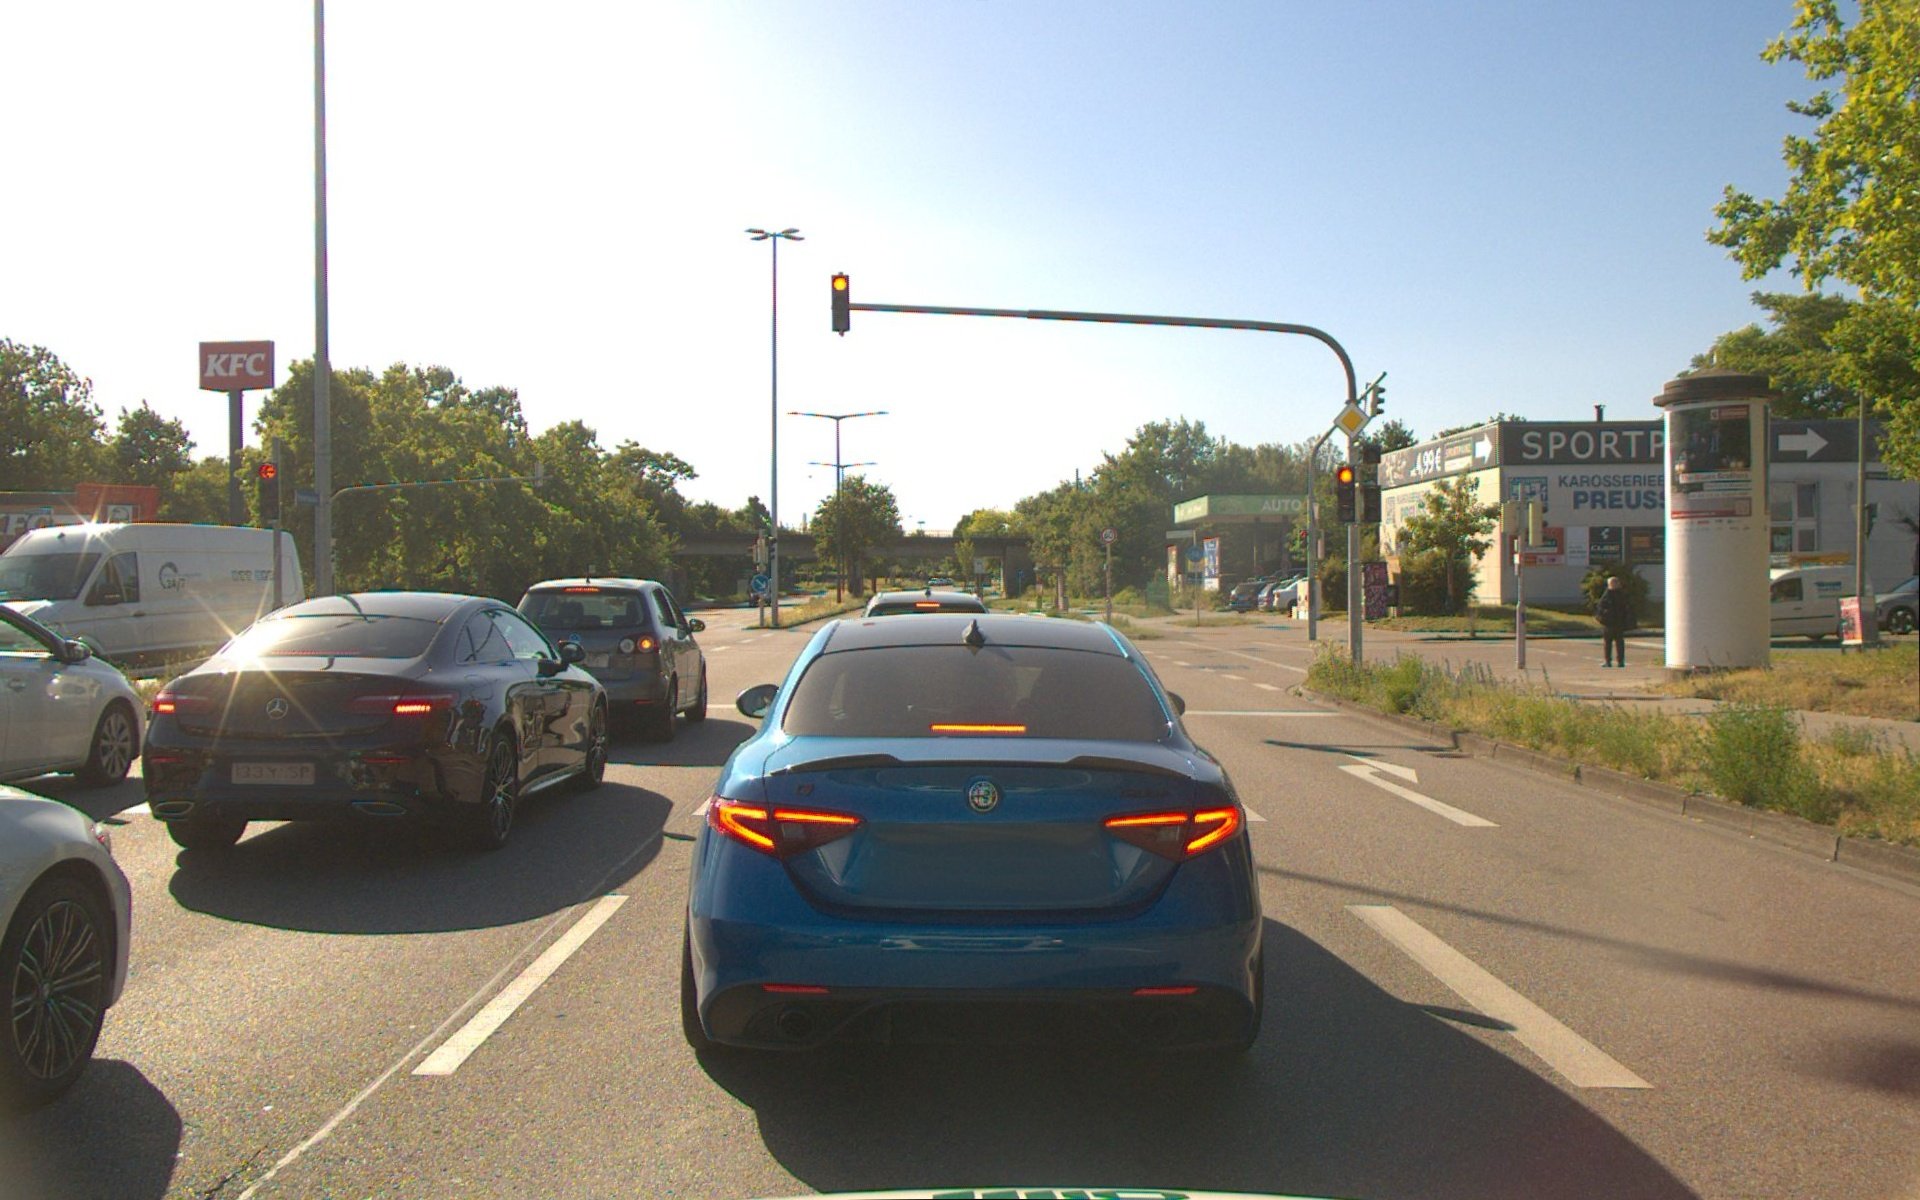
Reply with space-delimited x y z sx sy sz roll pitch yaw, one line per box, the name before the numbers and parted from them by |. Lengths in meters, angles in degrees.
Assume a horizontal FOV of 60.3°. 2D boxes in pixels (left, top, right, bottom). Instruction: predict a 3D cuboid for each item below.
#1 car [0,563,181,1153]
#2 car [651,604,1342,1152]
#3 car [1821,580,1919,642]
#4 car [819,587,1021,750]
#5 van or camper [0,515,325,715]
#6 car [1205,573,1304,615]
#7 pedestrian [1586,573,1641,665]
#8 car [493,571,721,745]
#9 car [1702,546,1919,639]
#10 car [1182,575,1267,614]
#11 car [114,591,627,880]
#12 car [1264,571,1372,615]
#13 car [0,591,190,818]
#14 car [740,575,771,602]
car | -3.348 0.683 3.086 1.732 1.535 4.460 0 0 -1
car | 0.073 0.747 6.361 1.828 1.409 3.931 0 0 -1
car | 25.378 0.267 43.681 4.318 1.580 1.998 0 0 -4
car | -0.393 0.610 17.045 1.828 1.475 3.931 0 0 -1
van or camper | -12.618 0.198 25.372 2.131 2.617 6.760 -2 0 10
car | 12.669 -0.261 71.144 3.928 1.736 1.686 0 0 -20
pedestrian | 12.652 0.359 32.041 0.805 1.752 0.854 0 0 6
car | -3.595 0.525 17.470 1.615 1.626 3.931 0 0 -1
car | 20.601 -0.186 40.151 4.318 2.183 1.998 0 0 -4
car | 11.874 -0.255 74.322 3.428 1.736 1.688 0 0 -17
car | -3.414 0.670 10.559 1.732 1.439 4.460 0 0 -1
car | 14.342 -0.272 66.314 3.923 1.736 1.687 0 0 -17
car | -7.086 0.673 11.112 1.819 1.454 4.403 0 0 -1
car | -18.855 -1.042 152.620 2.383 2.469 5.828 0 0 -2
